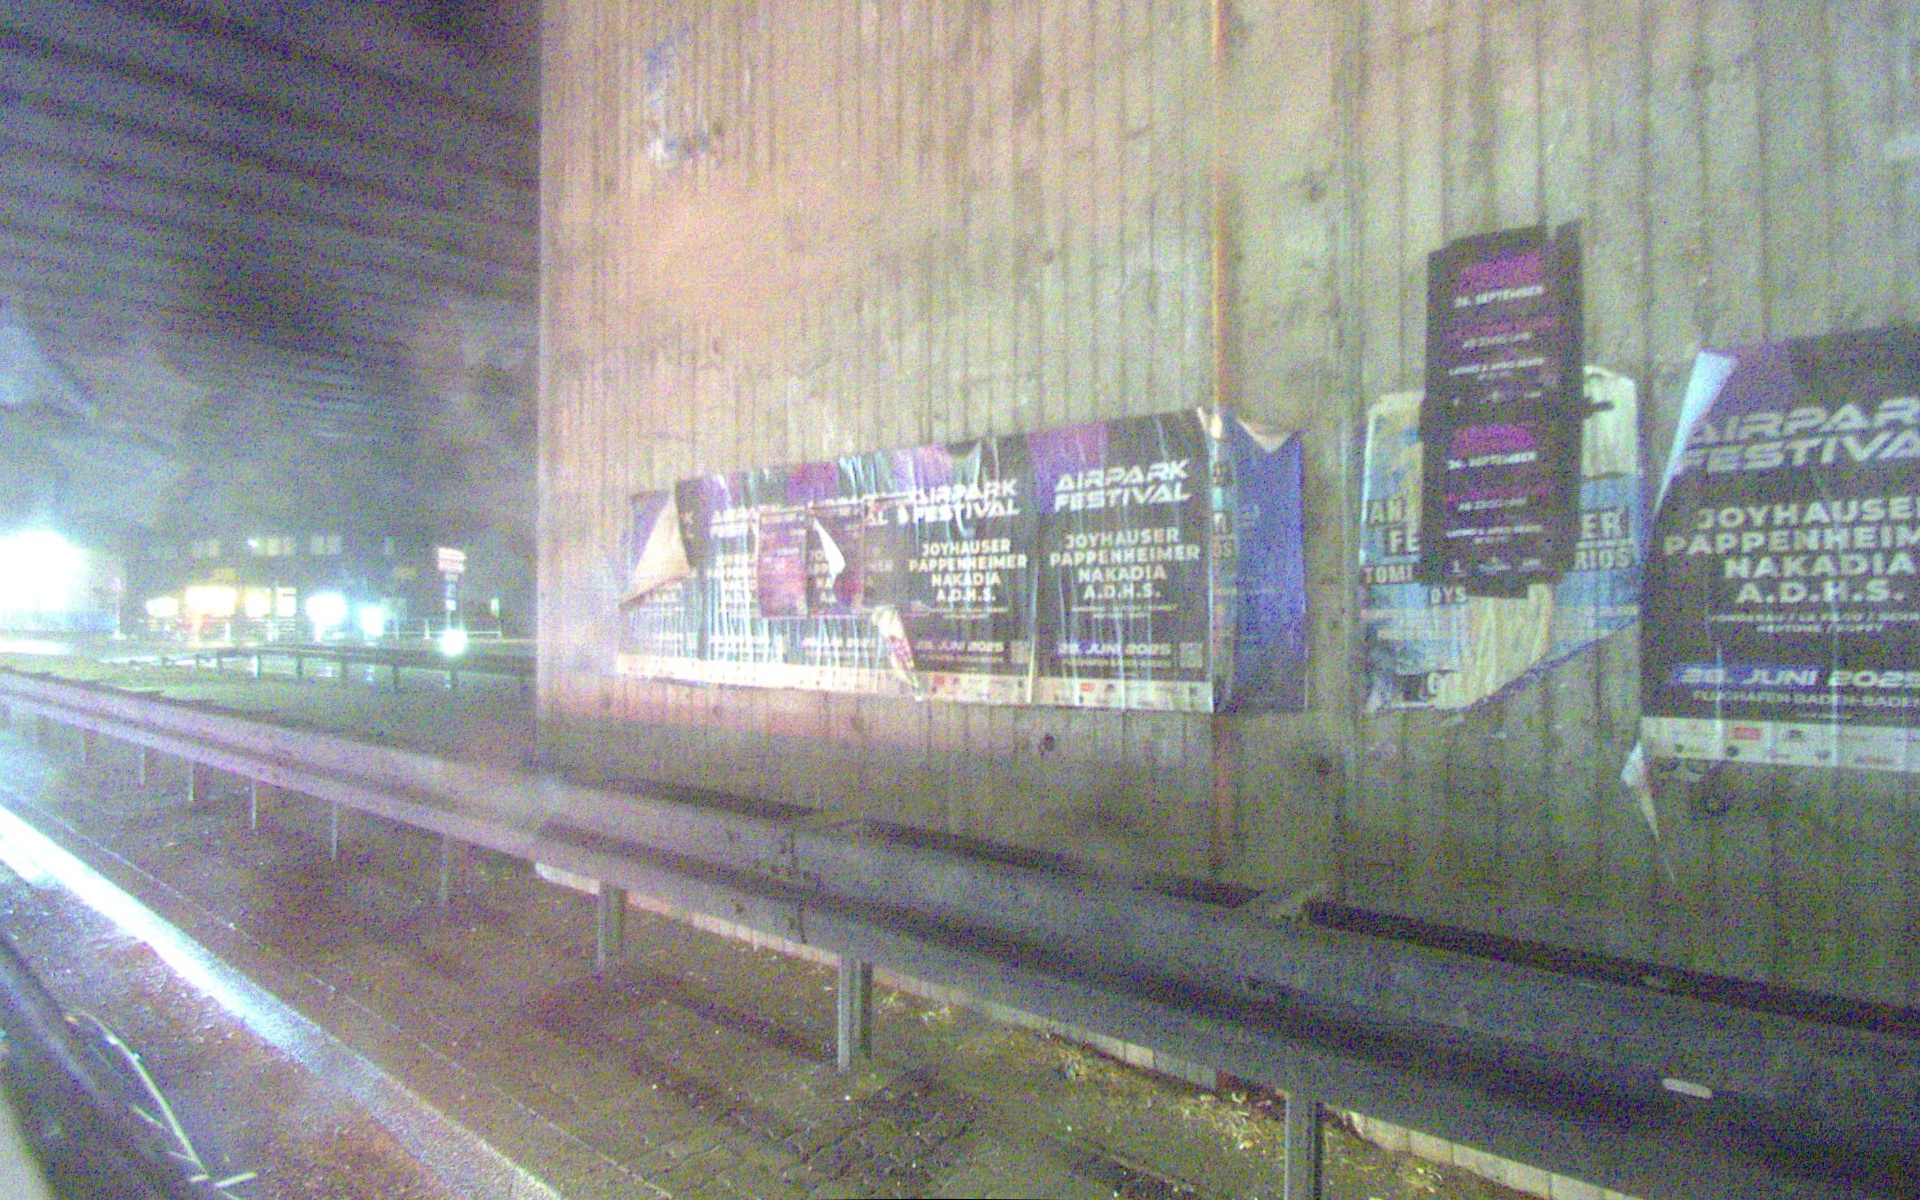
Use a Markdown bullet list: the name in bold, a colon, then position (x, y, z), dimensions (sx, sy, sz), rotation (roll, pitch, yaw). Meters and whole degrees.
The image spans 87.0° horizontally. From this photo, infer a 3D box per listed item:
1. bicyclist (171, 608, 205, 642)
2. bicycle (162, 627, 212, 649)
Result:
- **bicyclist**: position (-33.256, 1.087, 43.582), dimensions (1.180, 1.446, 0.625), rotation (0, -2, 21)
- **bicycle**: position (-33.273, 1.629, 43.570), dimensions (2.197, 0.912, 0.624), rotation (0, -2, 21)
